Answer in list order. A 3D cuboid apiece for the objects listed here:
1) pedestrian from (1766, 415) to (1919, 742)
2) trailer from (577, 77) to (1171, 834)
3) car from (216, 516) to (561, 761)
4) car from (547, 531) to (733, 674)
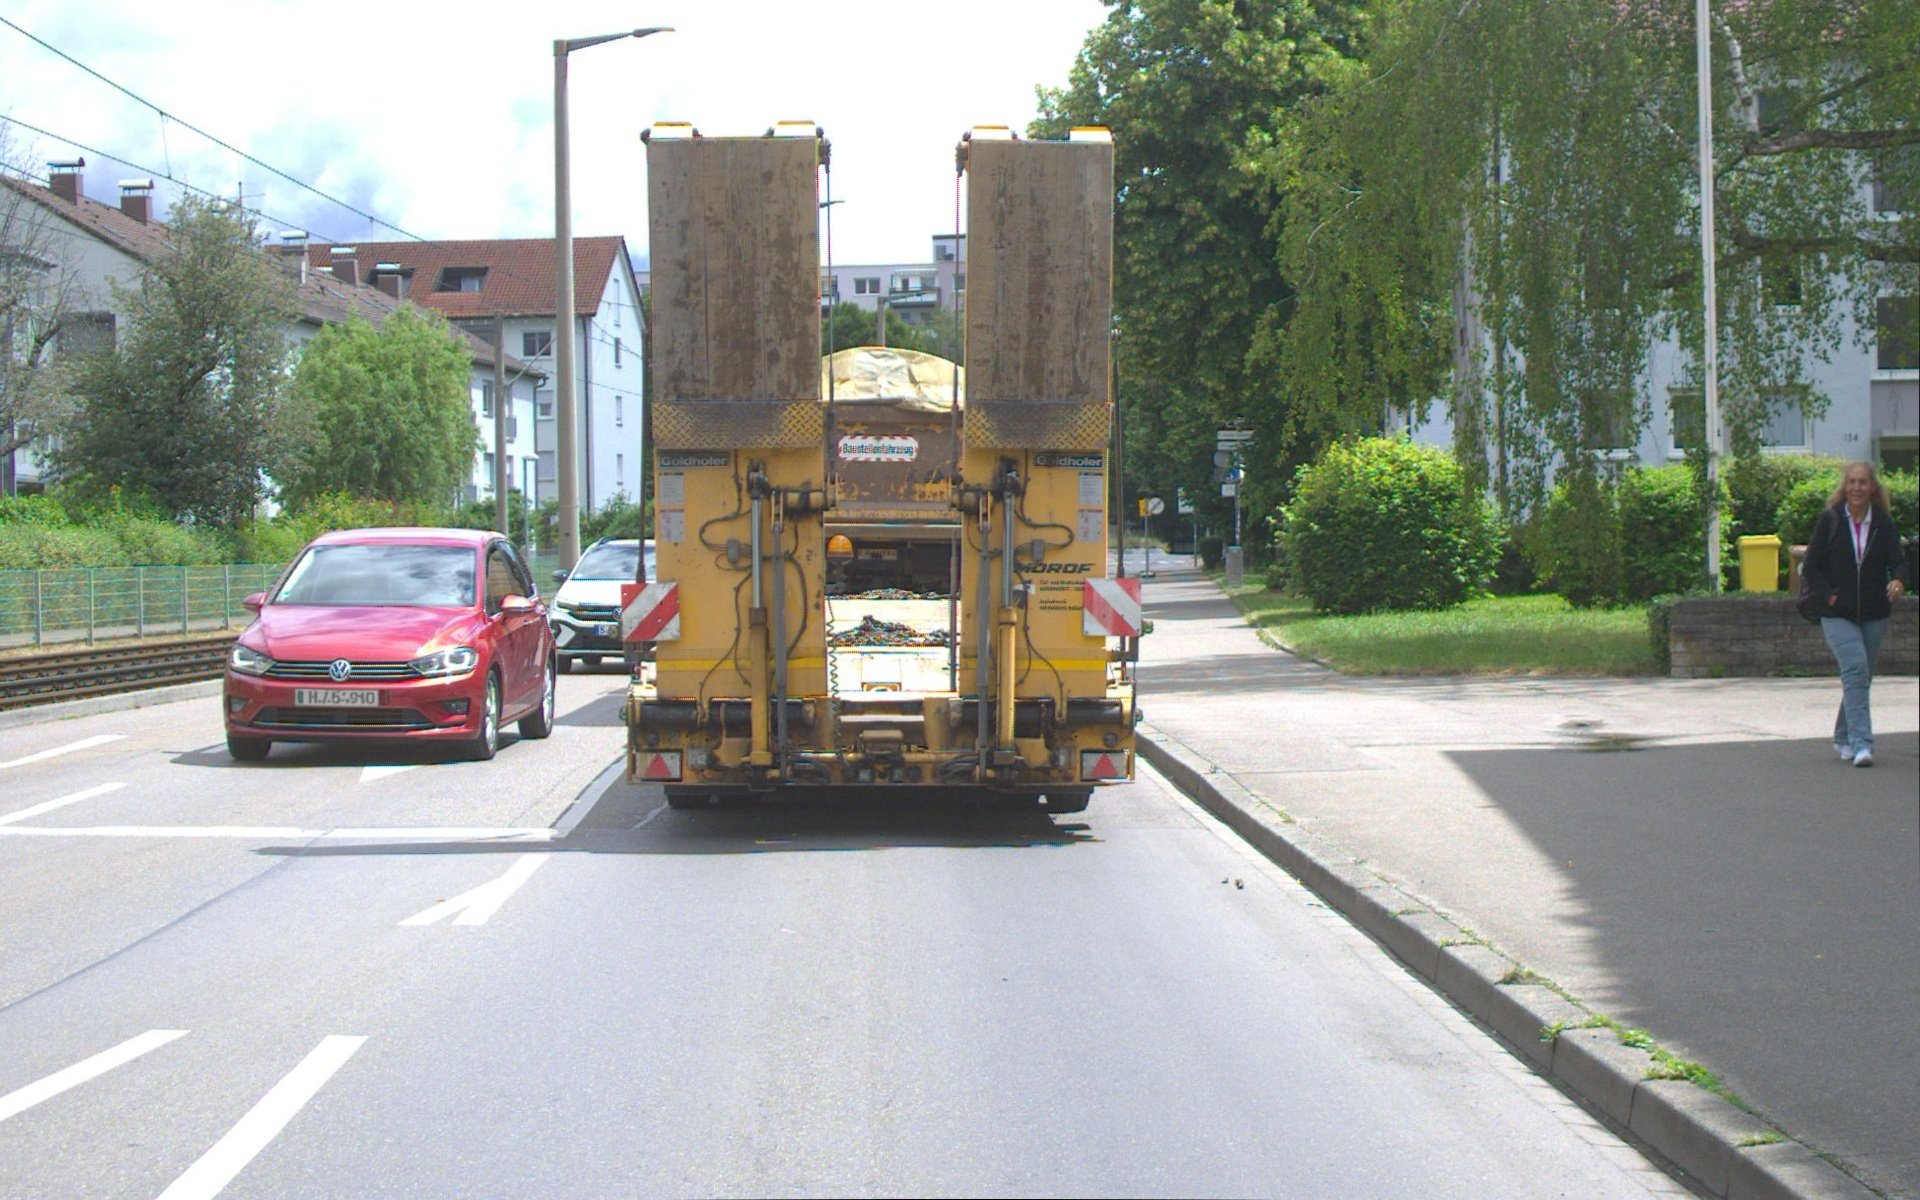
[{"bbox_3d":[4.916,-0.121,19.060,0.809,1.765,0.816,0,1,8],"label":"pedestrian"},{"bbox_3d":[-0.626,-0.808,22.926,2.827,3.633,12.355,1,1,-2],"label":"trailer"},{"bbox_3d":[-3.917,0.216,24.173,1.663,1.546,4.000,1,1,1],"label":"car"},{"bbox_3d":[-3.630,-0.002,39.559,1.760,1.546,4.000,1,1,0],"label":"car"}]
